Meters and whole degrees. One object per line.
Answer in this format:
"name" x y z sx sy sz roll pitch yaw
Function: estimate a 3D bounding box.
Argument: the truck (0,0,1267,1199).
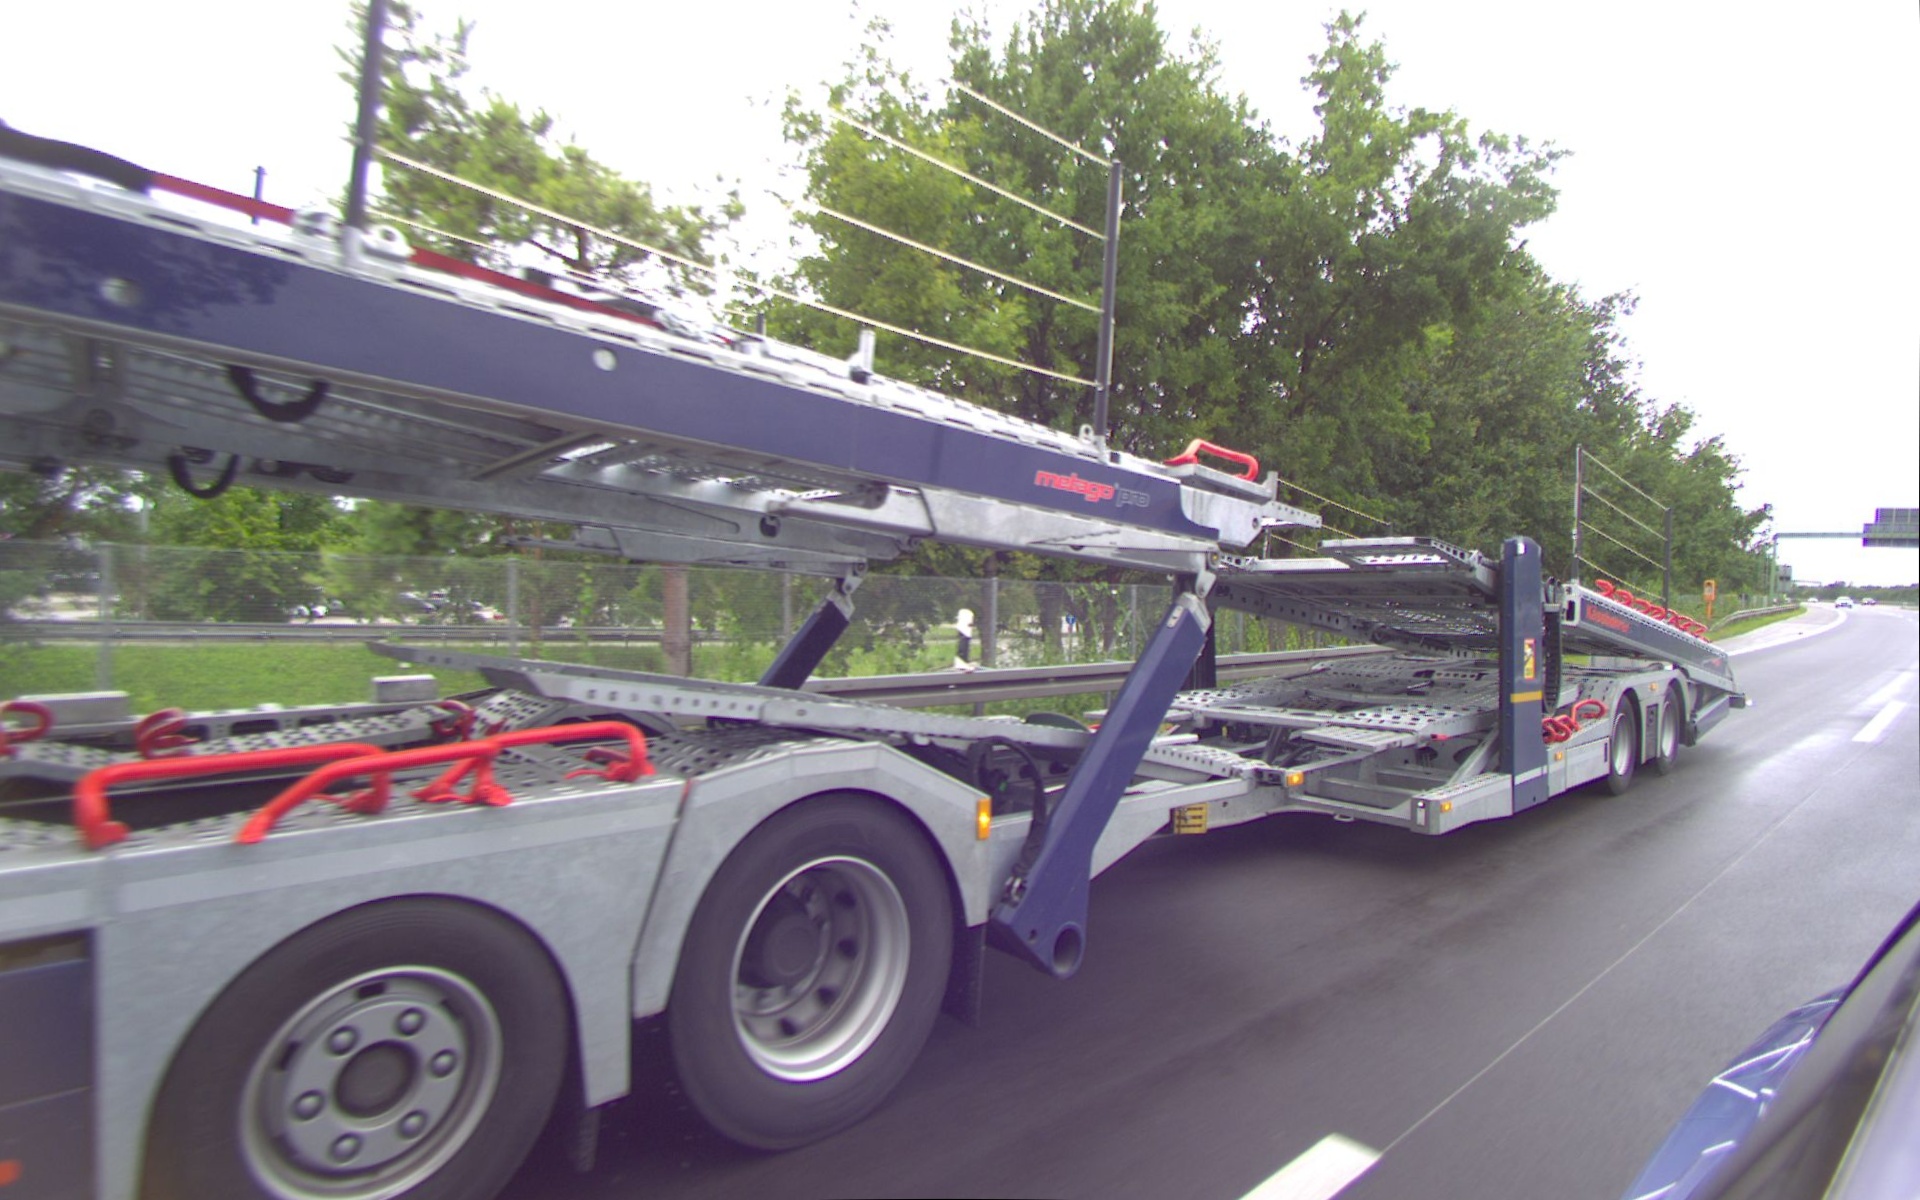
"truck" -3.121 -0.574 1.989 8.969 4.018 2.743 -1 0 -41

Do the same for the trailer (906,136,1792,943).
"trailer" 4.381 -0.292 8.669 10.229 3.326 2.781 0 1 -42

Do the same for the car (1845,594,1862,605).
"car" 134.797 -0.082 152.646 1.622 1.661 3.727 1 2 37
